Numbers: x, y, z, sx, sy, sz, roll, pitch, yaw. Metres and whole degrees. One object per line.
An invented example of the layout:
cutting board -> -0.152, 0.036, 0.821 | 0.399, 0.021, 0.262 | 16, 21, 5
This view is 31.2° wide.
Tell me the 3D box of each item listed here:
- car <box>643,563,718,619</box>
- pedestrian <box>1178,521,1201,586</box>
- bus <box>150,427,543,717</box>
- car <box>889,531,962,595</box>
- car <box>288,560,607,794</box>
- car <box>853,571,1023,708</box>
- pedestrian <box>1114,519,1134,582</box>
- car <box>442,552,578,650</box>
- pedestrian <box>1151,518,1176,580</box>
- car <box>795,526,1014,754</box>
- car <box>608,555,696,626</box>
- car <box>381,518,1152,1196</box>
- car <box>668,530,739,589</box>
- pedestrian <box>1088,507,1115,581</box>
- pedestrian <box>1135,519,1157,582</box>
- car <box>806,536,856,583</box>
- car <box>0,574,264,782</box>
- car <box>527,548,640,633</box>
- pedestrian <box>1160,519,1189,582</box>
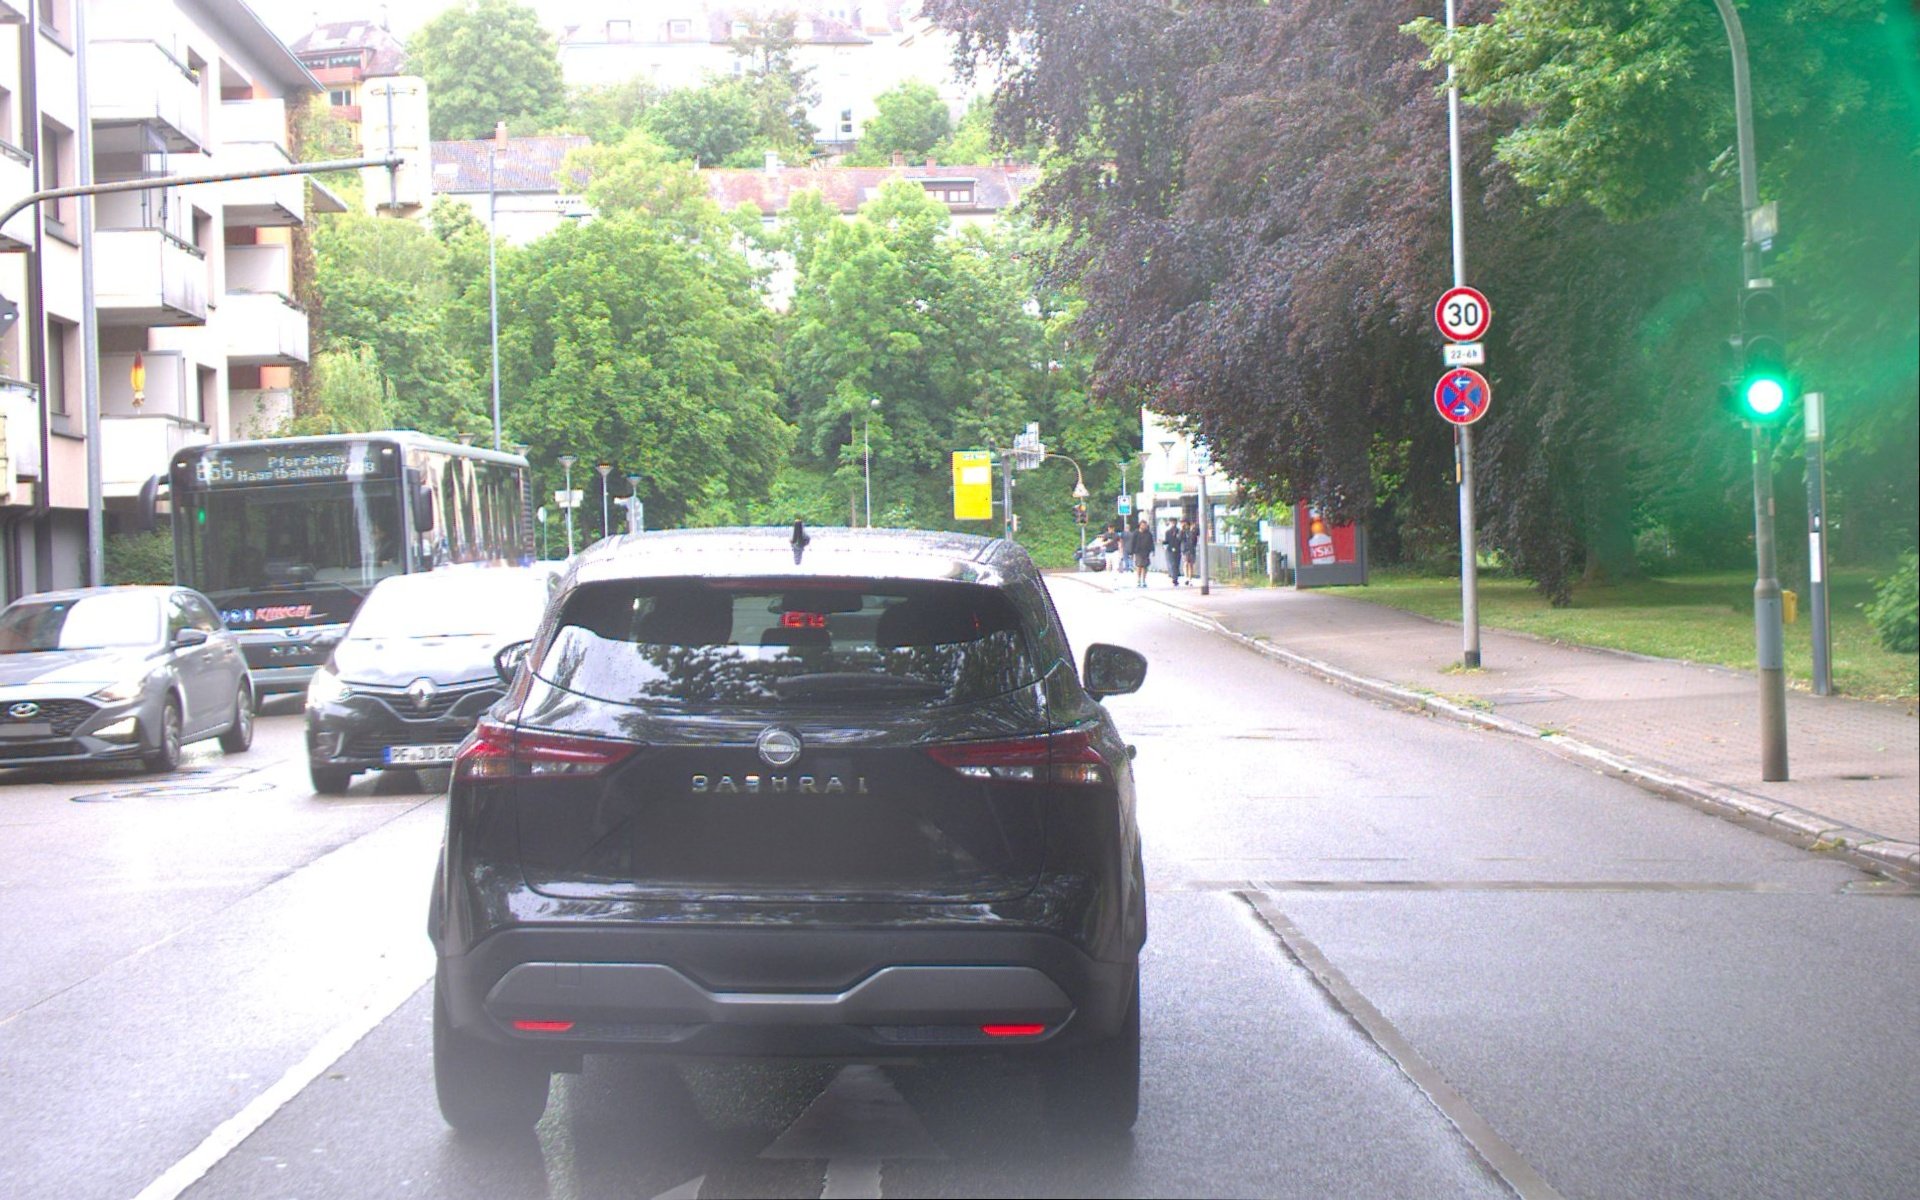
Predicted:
car -> -7.158, -0.236, 88.281 | 1.676, 1.291, 3.752 | -3, 1, -2
pedestrian -> 5.932, -1.202, 88.816 | 0.514, 1.650, 0.550 | 1, 0, -1
bus -> -7.152, -0.367, 41.993 | 2.766, 2.964, 11.782 | -2, 1, -1
car -> -0.801, -0.885, 81.174 | 1.624, 1.410, 3.455 | -2, 1, 0
car -> -3.439, 0.472, 23.602 | 1.624, 1.410, 3.455 | -2, 1, 0
car -> -0.300, 0.409, 38.910 | 1.808, 1.412, 4.031 | 0, 1, -2
pedestrian -> 4.317, -1.310, 90.369 | 0.475, 1.645, 0.490 | 1, 0, 0
car -> -7.450, -0.011, 57.226 | 1.775, 1.464, 4.217 | -3, 1, -2
pedestrian -> 5.951, -1.489, 100.655 | 0.618, 1.773, 0.778 | -2, 1, -1
car -> -0.401, 0.278, 28.457 | 1.622, 1.703, 3.771 | -2, 1, 1
car -> -7.004, -0.240, 78.497 | 1.676, 1.464, 4.217 | -3, 1, -2
car -> -0.484, 0.597, 10.134 | 1.806, 1.584, 4.000 | 1, 0, -1
car -> -7.496, -1.213, 100.699 | 1.750, 1.628, 3.635 | -2, 1, 0
pedestrian -> 4.181, -1.644, 101.636 | 0.768, 2.176, 0.711 | 1, 0, 3
pedestrian -> 4.907, -1.304, 90.595 | 0.544, 1.645, 0.490 | 1, 0, 0
car -> -5.026, -1.590, 133.857 | 1.763, 1.752, 3.635 | -2, 1, 0
car -> -6.811, 0.572, 27.247 | 1.808, 1.412, 4.031 | -3, 1, -2
car -> -7.157, -0.215, 65.653 | 1.747, 1.464, 4.217 | -3, 1, -2
pedestrian -> 5.647, -1.296, 90.641 | 0.699, 1.645, 0.628 | 1, 0, 0
